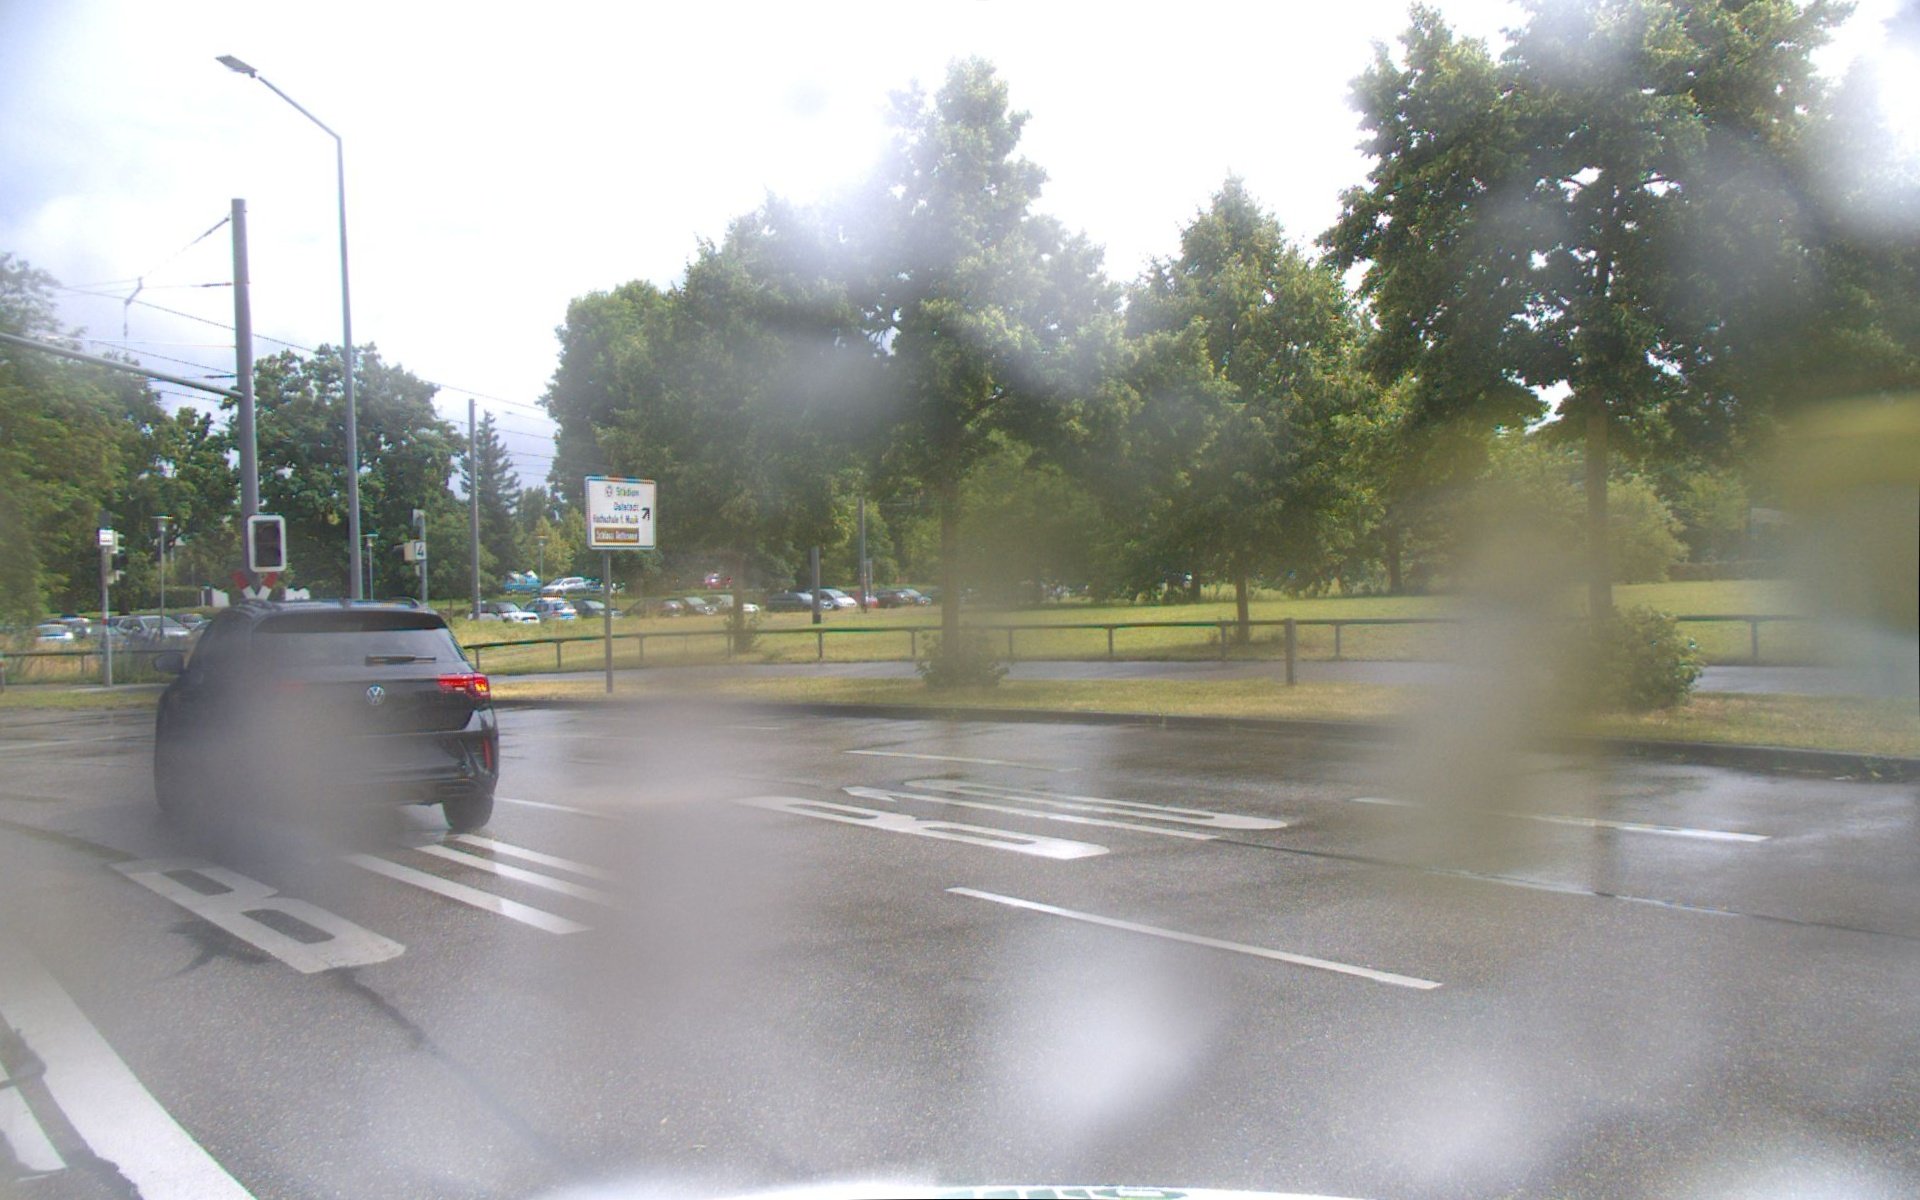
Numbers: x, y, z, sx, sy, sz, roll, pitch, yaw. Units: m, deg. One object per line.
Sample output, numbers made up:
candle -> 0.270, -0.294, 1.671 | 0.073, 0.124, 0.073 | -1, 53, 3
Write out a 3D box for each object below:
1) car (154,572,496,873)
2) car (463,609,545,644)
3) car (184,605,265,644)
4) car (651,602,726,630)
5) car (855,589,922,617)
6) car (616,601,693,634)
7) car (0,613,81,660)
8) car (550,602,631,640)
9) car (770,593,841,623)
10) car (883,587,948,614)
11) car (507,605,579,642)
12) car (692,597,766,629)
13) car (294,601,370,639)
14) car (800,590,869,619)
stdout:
car -> -4.550, 0.668, 11.697 | 1.873, 1.645, 3.970 | -2, 2, -24
car -> -22.195, 1.308, 80.434 | 3.921, 1.554, 1.792 | -2, 0, 37
car -> -30.362, 1.008, 68.271 | 3.542, 1.487, 1.637 | -2, 1, 39
car -> -14.865, 0.891, 90.531 | 3.900, 1.330, 1.843 | -2, 0, 37
car -> -4.482, 0.175, 104.092 | 3.900, 1.587, 1.843 | -2, 0, 37
car -> -16.293, 0.957, 88.207 | 3.900, 1.587, 1.843 | -2, 0, 37
car -> -34.825, 1.382, 61.976 | 3.900, 1.587, 1.843 | -2, 0, 37
car -> -18.883, 1.079, 84.520 | 3.922, 1.744, 1.992 | -2, 0, 38
car -> -9.183, 0.486, 98.150 | 3.900, 1.587, 1.843 | -2, 0, 37
car -> -2.877, 0.055, 107.239 | 3.900, 1.587, 1.843 | -2, 0, 37
car -> -20.747, 1.183, 82.293 | 3.557, 1.689, 1.544 | -2, 0, 37
car -> -12.935, 0.736, 92.533 | 3.900, 1.587, 1.843 | -2, 0, 37
car -> -27.502, 0.877, 72.428 | 3.585, 1.536, 1.640 | -2, 1, 42
car -> -7.713, 0.269, 101.509 | 3.900, 1.587, 1.843 | -2, 0, 37
